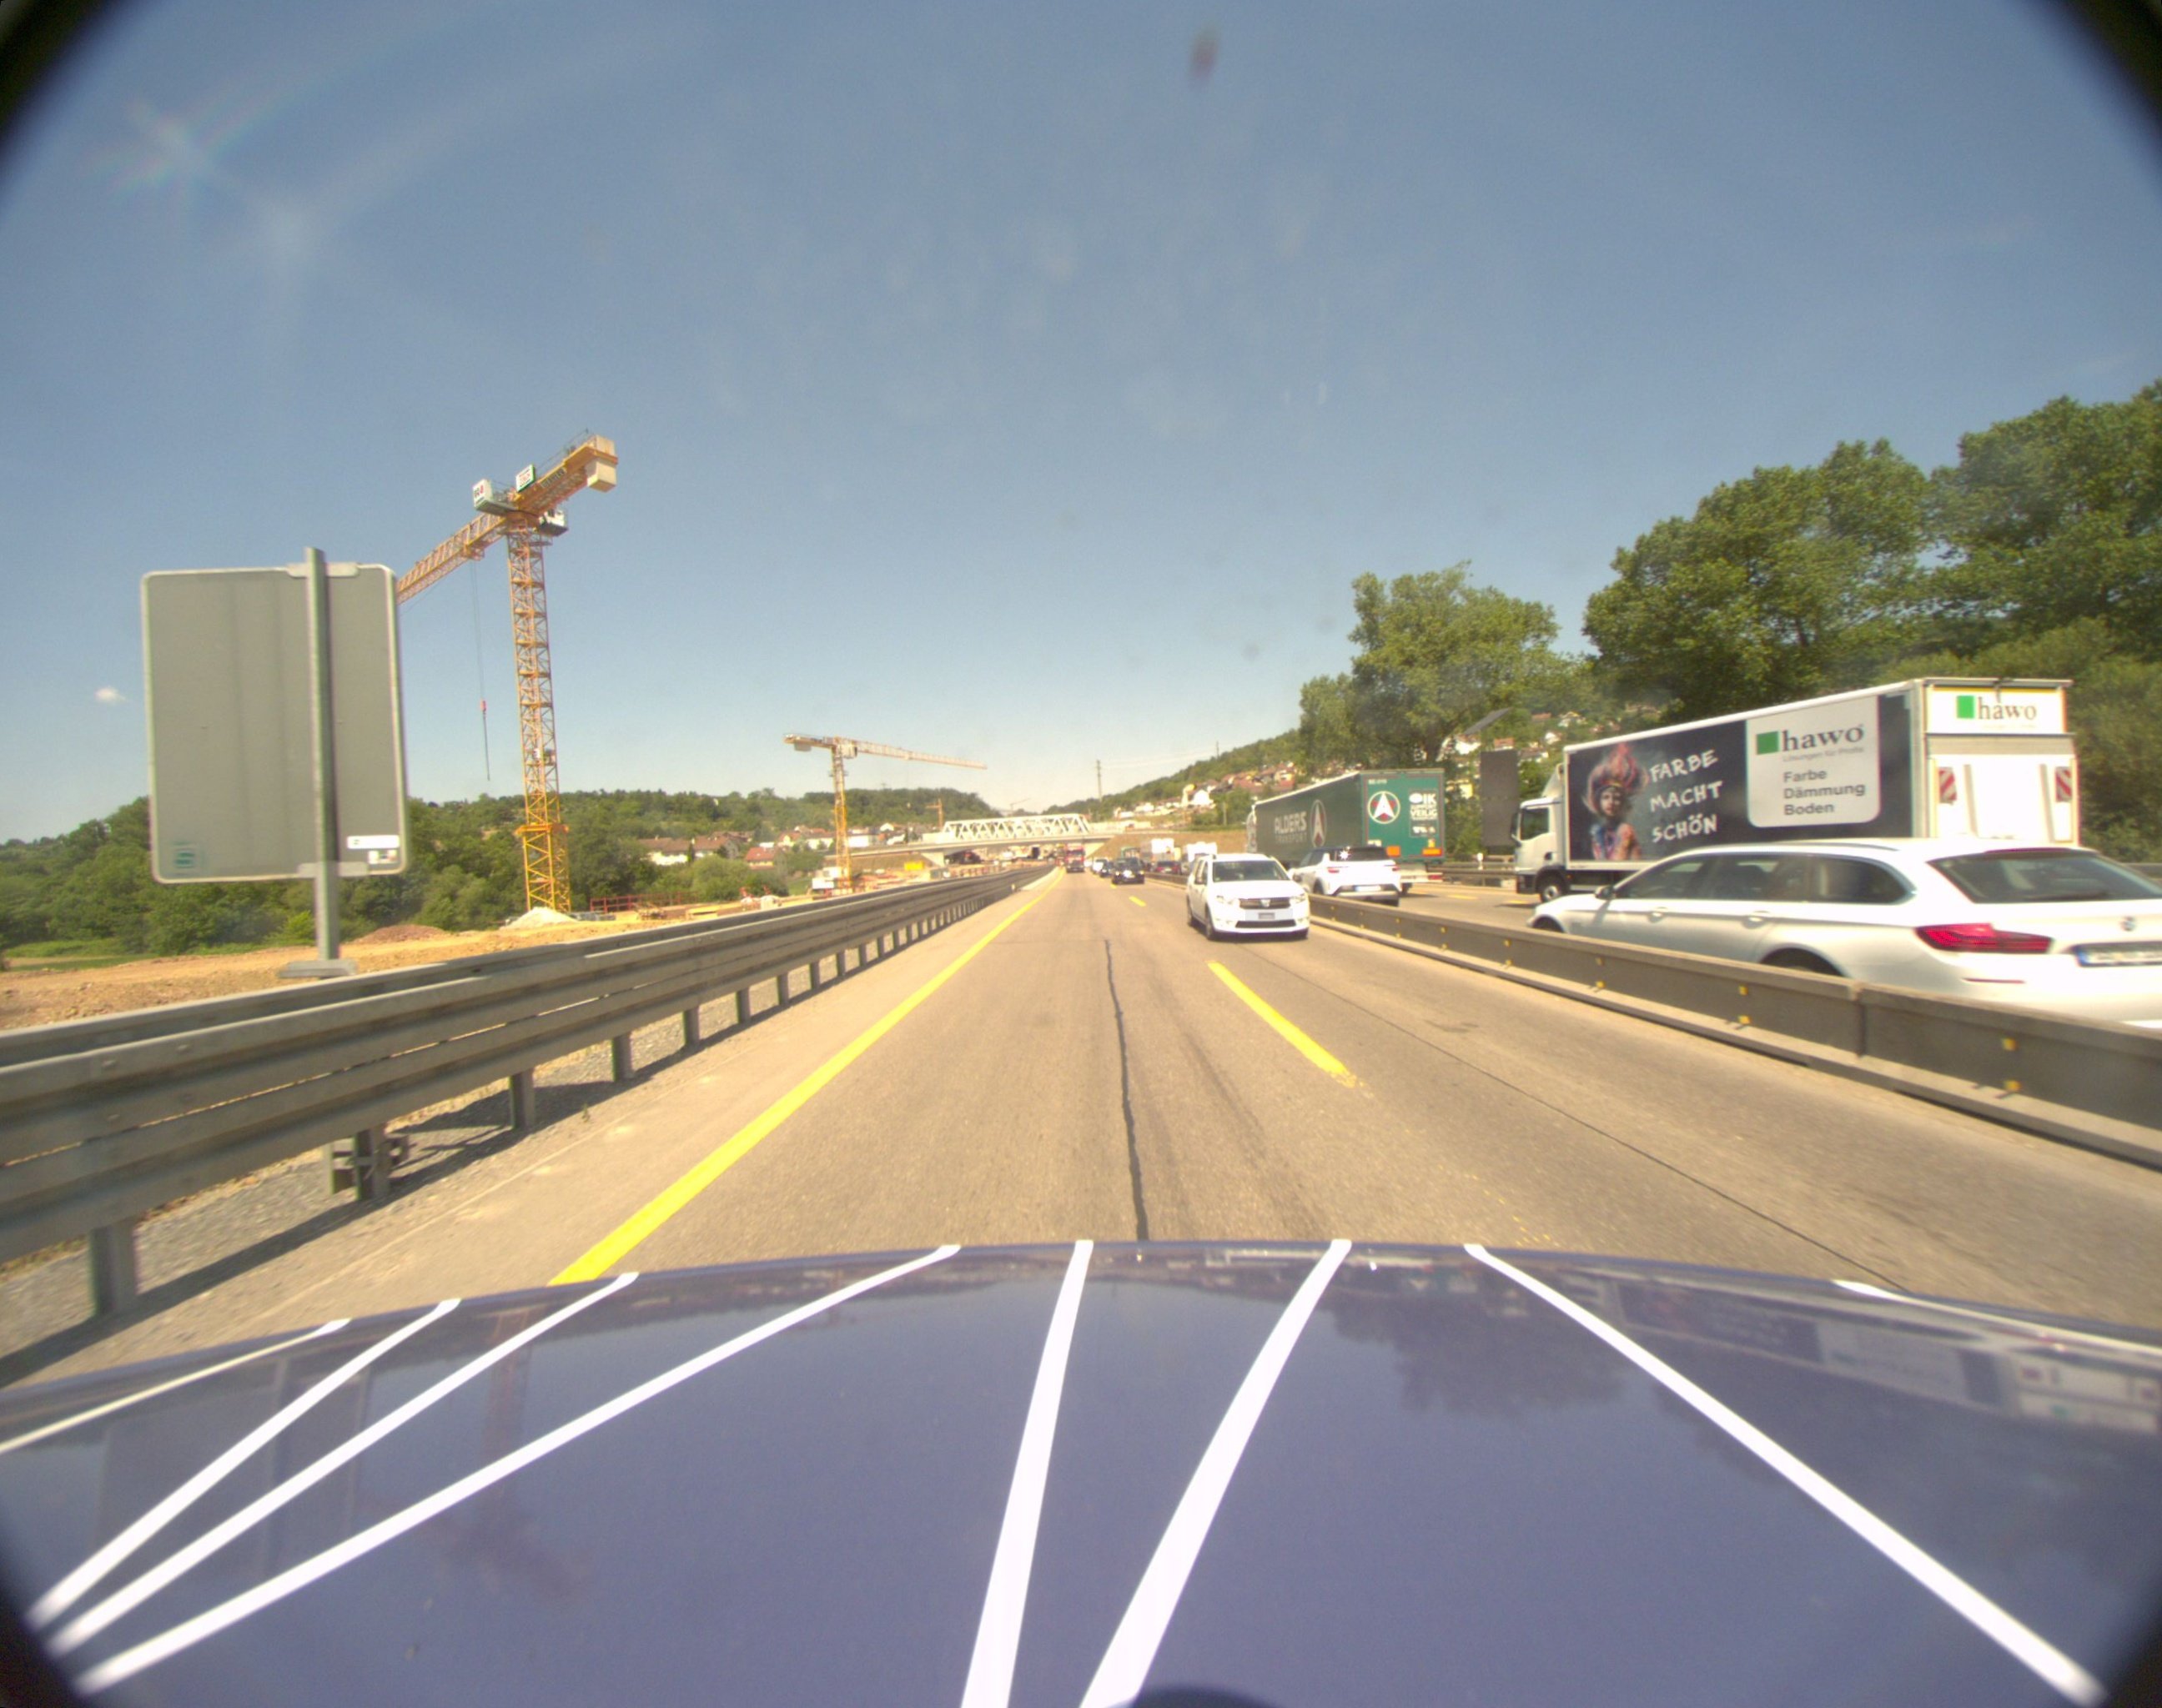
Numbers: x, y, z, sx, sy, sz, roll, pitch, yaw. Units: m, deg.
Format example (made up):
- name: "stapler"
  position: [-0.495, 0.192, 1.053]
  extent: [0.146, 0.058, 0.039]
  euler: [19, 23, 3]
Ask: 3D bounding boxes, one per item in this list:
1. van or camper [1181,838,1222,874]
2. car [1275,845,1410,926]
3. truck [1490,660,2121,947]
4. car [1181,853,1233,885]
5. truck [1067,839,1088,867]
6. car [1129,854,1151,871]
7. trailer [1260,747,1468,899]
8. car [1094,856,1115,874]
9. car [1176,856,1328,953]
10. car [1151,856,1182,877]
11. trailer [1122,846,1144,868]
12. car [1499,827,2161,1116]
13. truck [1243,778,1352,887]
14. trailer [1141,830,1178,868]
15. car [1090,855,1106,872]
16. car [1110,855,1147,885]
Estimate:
- name: "van or camper"
  position: [9.735, 0.189, 61.864]
  extent: [2.510, 2.682, 5.244]
  euler: [-2, 0, 1]
- name: "car"
  position: [6.254, 0.704, 18.671]
  extent: [1.761, 1.637, 4.155]
  euler: [-4, 0, 0]
- name: "truck"
  position: [12.030, -0.647, 14.296]
  extent: [2.914, 3.742, 8.361]
  euler: [-3, 0, -10]
- name: "car"
  position: [6.429, 0.754, 39.123]
  extent: [1.870, 1.450, 4.607]
  euler: [-4, 0, 1]
- name: "truck"
  position: [-0.408, -0.202, 106.682]
  extent: [2.702, 3.705, 8.507]
  euler: [-2, 1, 1]
- name: "car"
  position: [6.198, 0.920, 80.478]
  extent: [1.852, 1.677, 4.618]
  euler: [-2, -1, -1]
- name: "trailer"
  position: [9.875, -0.874, 28.948]
  extent: [3.109, 4.438, 13.020]
  euler: [-1, 0, 1]
- name: "car"
  position: [2.148, 0.997, 70.256]
  extent: [1.791, 1.578, 4.000]
  euler: [-4, 0, 1]
- name: "car"
  position: [3.075, 0.835, 14.729]
  extent: [1.823, 1.521, 4.706]
  euler: [-2, 0, 0]
- name: "car"
  position: [6.318, 0.922, 56.659]
  extent: [1.782, 1.412, 4.538]
  euler: [-4, 0, 0]
- name: "trailer"
  position: [9.200, 0.613, 135.029]
  extent: [2.801, 3.650, 8.956]
  euler: [-3, 0, -1]
- name: "car"
  position: [6.025, 0.641, 6.599]
  extent: [1.998, 1.489, 4.975]
  euler: [-3, 0, 0]
- name: "truck"
  position: [9.980, -0.893, 35.897]
  extent: [3.085, 4.510, 7.103]
  euler: [-2, 0, 1]
- name: "trailer"
  position: [9.333, -0.492, 91.590]
  extent: [2.814, 4.151, 11.798]
  euler: [-2, -1, -1]
- name: "car"
  position: [1.993, 1.112, 89.391]
  extent: [1.791, 1.870, 4.000]
  euler: [-4, 0, 1]
- name: "car"
  position: [2.889, 0.963, 47.394]
  extent: [1.862, 1.682, 4.097]
  euler: [-3, 0, -2]
